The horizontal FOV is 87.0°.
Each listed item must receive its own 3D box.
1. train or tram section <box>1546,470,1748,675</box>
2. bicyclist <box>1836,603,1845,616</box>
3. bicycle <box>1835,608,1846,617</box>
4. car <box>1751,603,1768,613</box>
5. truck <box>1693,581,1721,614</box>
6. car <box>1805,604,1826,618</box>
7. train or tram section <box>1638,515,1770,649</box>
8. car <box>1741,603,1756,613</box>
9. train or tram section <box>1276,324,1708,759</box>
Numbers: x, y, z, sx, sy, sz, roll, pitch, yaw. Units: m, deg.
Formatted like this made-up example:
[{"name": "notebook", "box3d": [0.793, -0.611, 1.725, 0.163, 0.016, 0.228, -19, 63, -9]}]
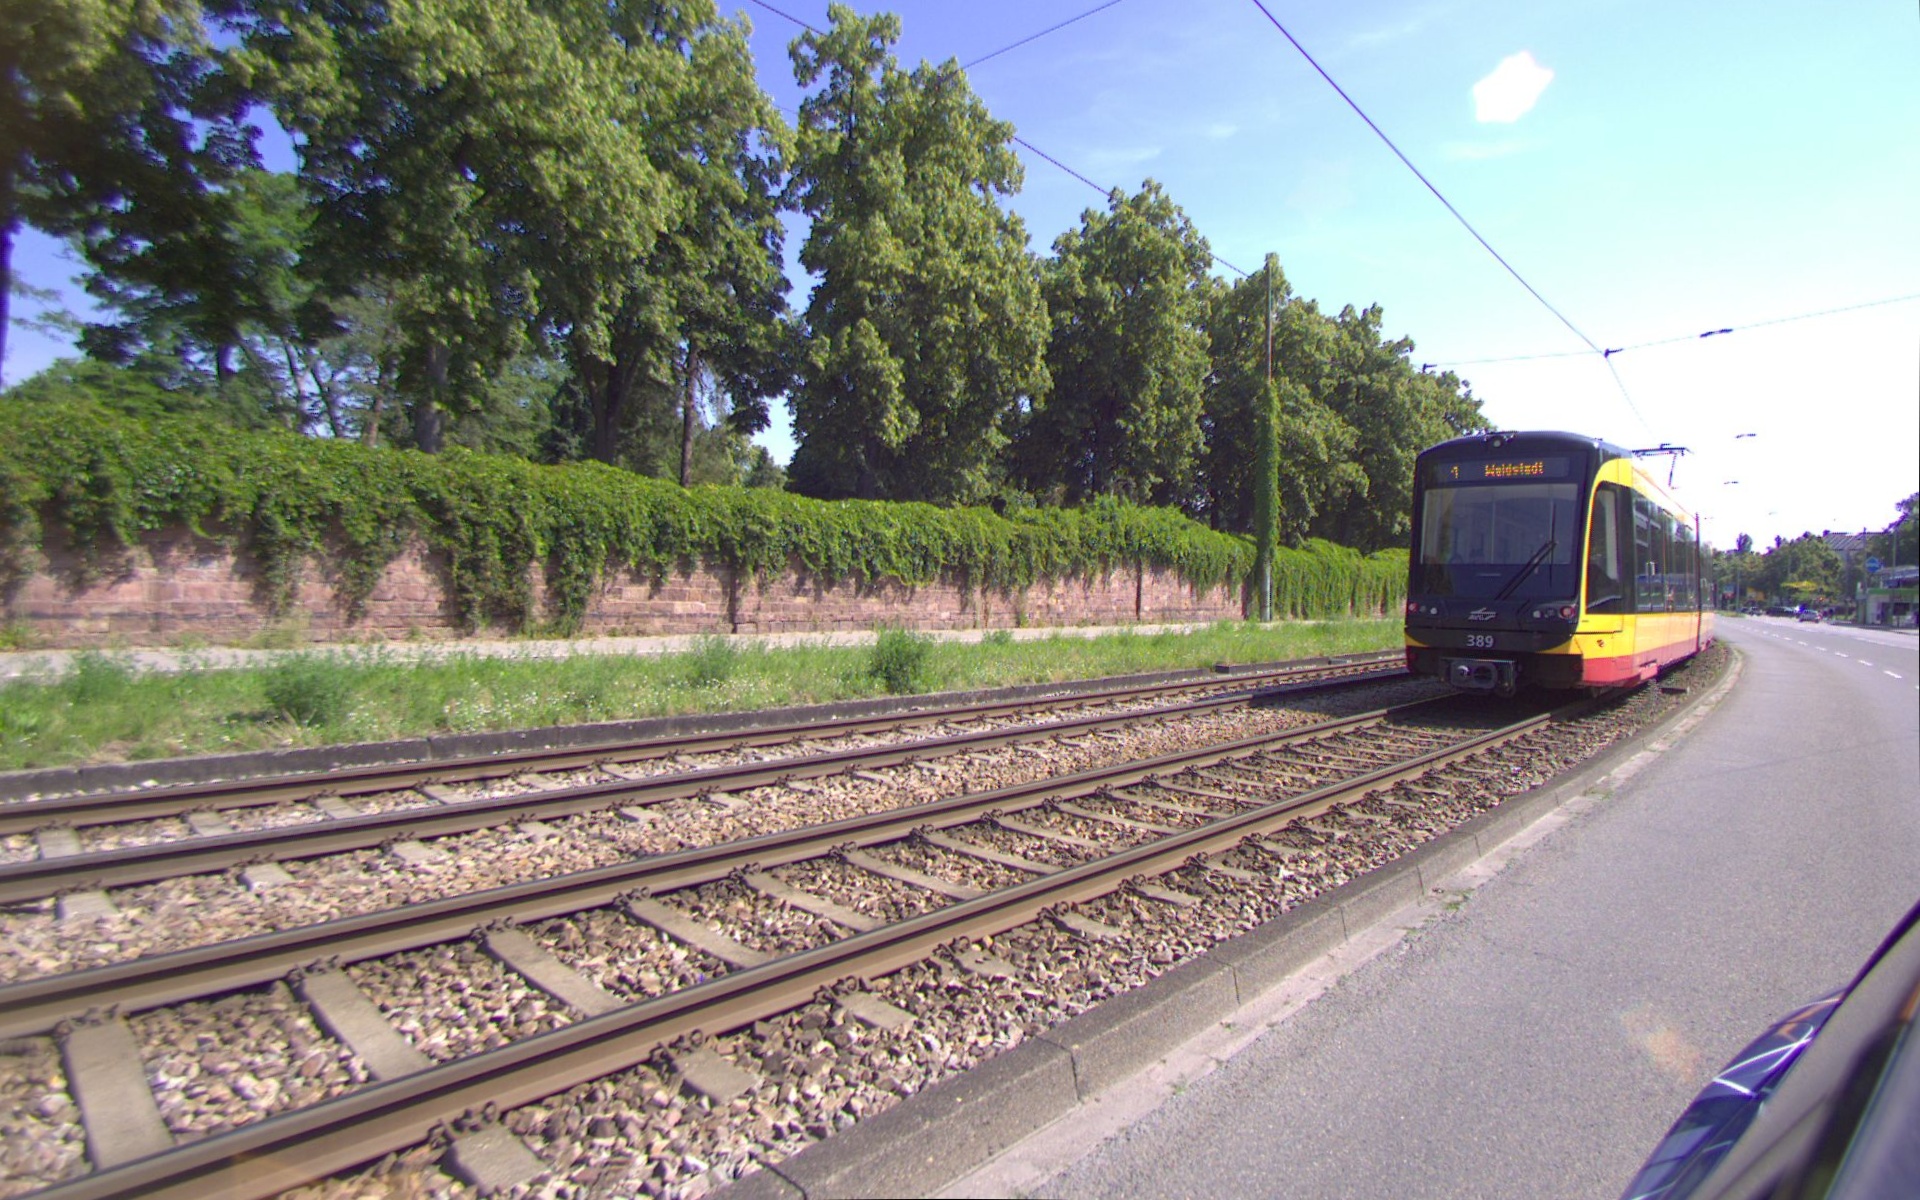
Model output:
[{"name": "train or tram section", "box3d": [17.076, -0.547, 24.549, 2.509, 3.793, 13.113, 3, 2, 41]}, {"name": "bicyclist", "box3d": [121.844, 1.287, 139.968, 0.832, 1.695, 0.816, 1, -1, 35]}, {"name": "bicycle", "box3d": [121.921, 1.777, 140.086, 0.935, 1.190, 2.181, 3, 1, 37]}, {"name": "car", "box3d": [143.152, 1.476, 181.189, 1.812, 1.693, 3.956, 2, -1, 30]}, {"name": "truck", "box3d": [100.976, -0.304, 136.687, 2.839, 4.057, 14.110, 3, 1, 37]}, {"name": "car", "box3d": [100.738, 1.300, 119.189, 1.656, 1.438, 4.249, 4, 2, 38]}, {"name": "train or tram section", "box3d": [25.632, -0.544, 34.487, 2.509, 3.793, 13.113, 3, 2, 41]}, {"name": "car", "box3d": [154.781, 1.608, 198.753, 1.812, 1.693, 3.956, 2, -1, 30]}, {"name": "train or tram section", "box3d": [8.561, -0.548, 14.621, 2.509, 3.793, 13.112, 3, 2, 41]}]
